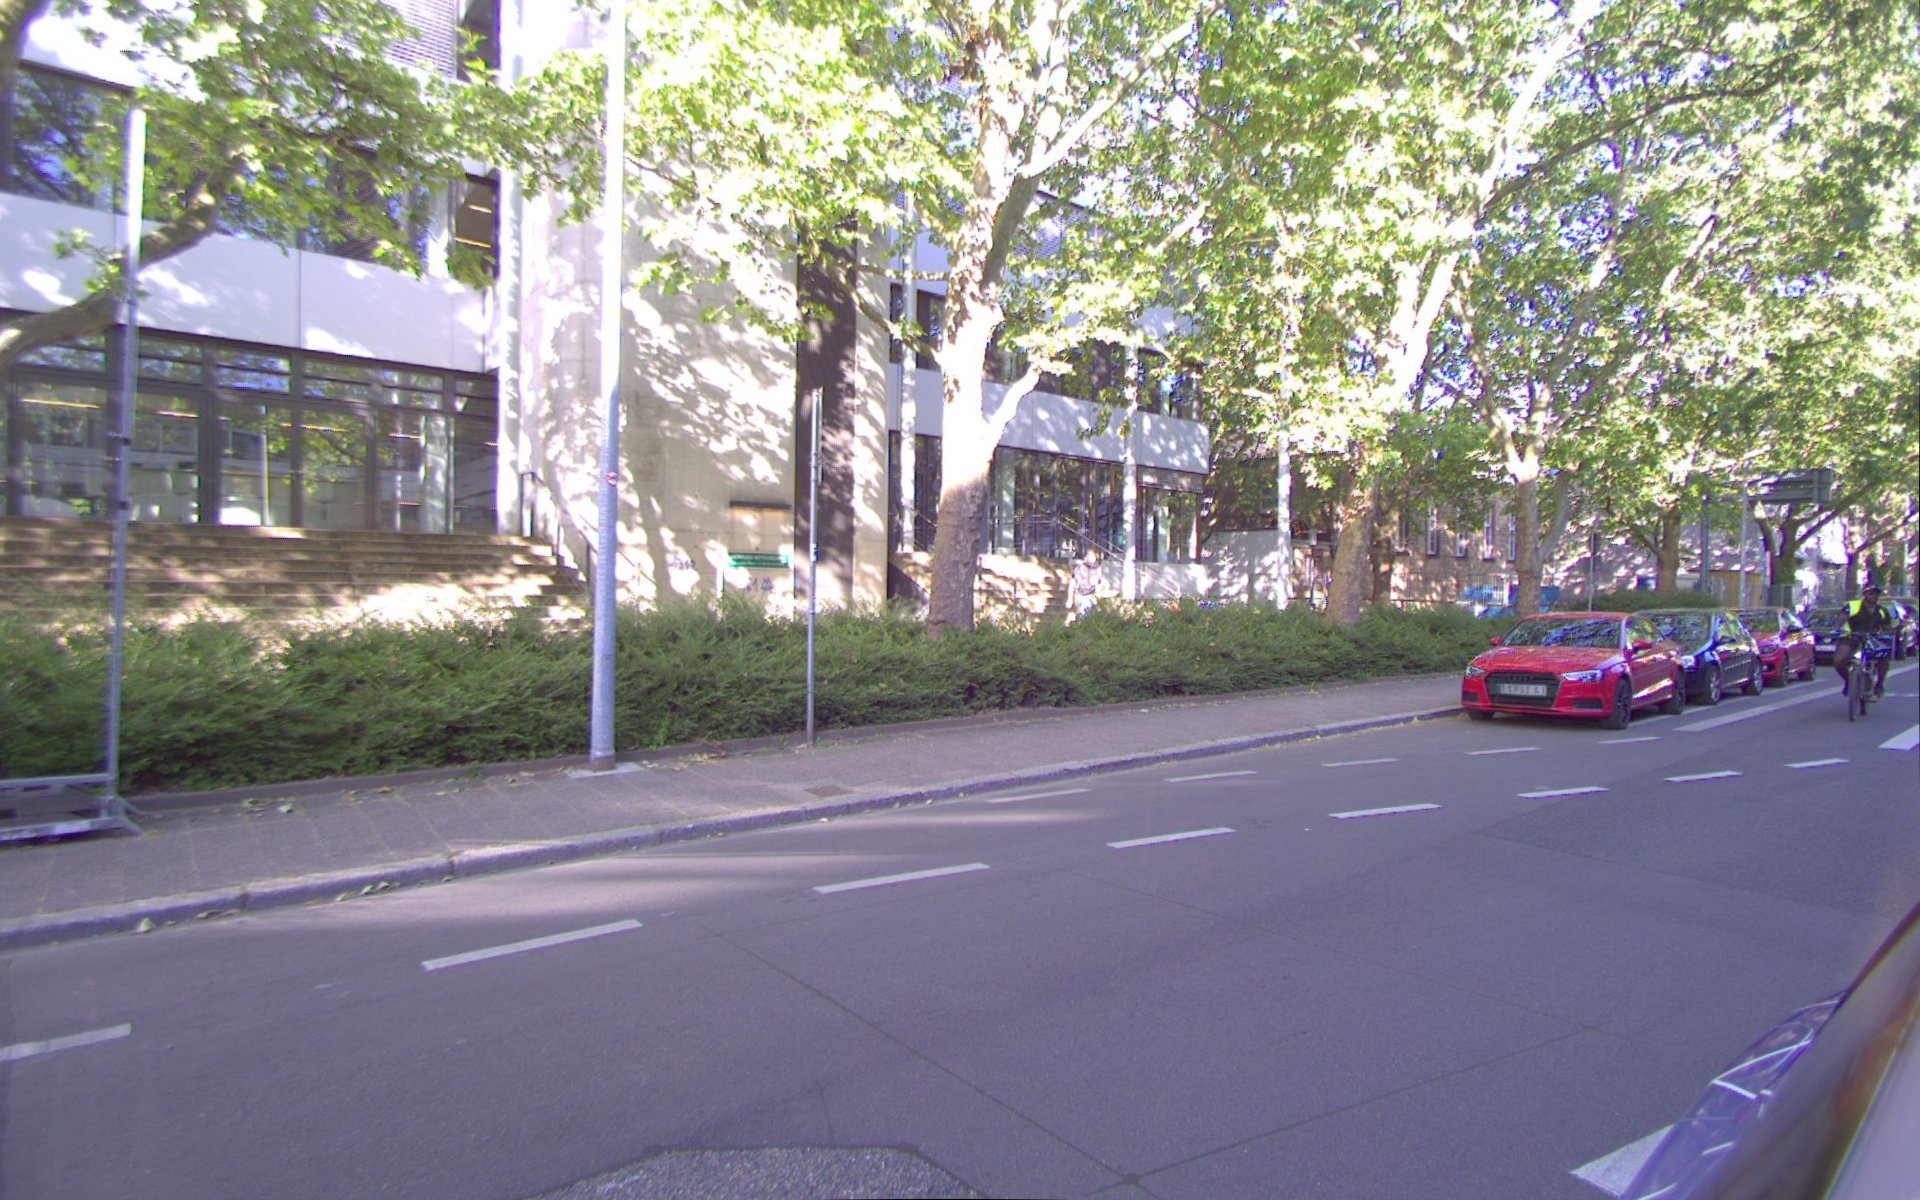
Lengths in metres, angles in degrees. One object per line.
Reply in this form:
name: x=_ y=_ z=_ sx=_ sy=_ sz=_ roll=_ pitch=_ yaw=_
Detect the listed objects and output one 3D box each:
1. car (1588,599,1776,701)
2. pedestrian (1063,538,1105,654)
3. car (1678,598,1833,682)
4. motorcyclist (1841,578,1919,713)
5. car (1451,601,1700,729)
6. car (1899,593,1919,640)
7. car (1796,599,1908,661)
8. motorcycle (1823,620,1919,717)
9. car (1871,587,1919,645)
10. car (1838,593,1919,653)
car: x=11.852 y=0.730 z=16.543 sx=3.632 sy=1.436 sz=1.668 roll=-1 pitch=0 yaw=-40
pedestrian: x=2.243 y=-0.073 z=18.258 sx=0.549 sy=2.039 sz=0.555 roll=0 pitch=0 yaw=38
car: x=15.740 y=0.708 z=19.970 sx=3.854 sy=1.467 sz=1.691 roll=-1 pitch=0 yaw=-40
motorcyclist: x=12.481 y=0.589 z=13.716 sx=0.738 sy=1.765 sz=0.718 roll=0 pitch=0 yaw=-41
car: x=8.297 y=0.736 z=13.513 sx=3.931 sy=1.409 sz=1.792 roll=-1 pitch=0 yaw=-42
car: x=35.532 y=0.574 z=36.781 sx=4.497 sy=1.633 sz=1.632 roll=-1 pitch=0 yaw=-41
car: x=22.945 y=0.712 z=25.985 sx=3.855 sy=1.441 sz=1.691 roll=-1 pitch=0 yaw=-41
motorcycle: x=12.356 y=0.870 z=13.633 sx=2.197 sy=1.146 sz=0.798 roll=-1 pitch=0 yaw=-41
car: x=31.169 y=0.474 z=33.010 sx=4.497 sy=1.814 sz=1.632 roll=-1 pitch=0 yaw=-41
car: x=26.630 y=0.604 z=29.041 sx=4.158 sy=1.598 sz=1.632 roll=-1 pitch=0 yaw=-41
